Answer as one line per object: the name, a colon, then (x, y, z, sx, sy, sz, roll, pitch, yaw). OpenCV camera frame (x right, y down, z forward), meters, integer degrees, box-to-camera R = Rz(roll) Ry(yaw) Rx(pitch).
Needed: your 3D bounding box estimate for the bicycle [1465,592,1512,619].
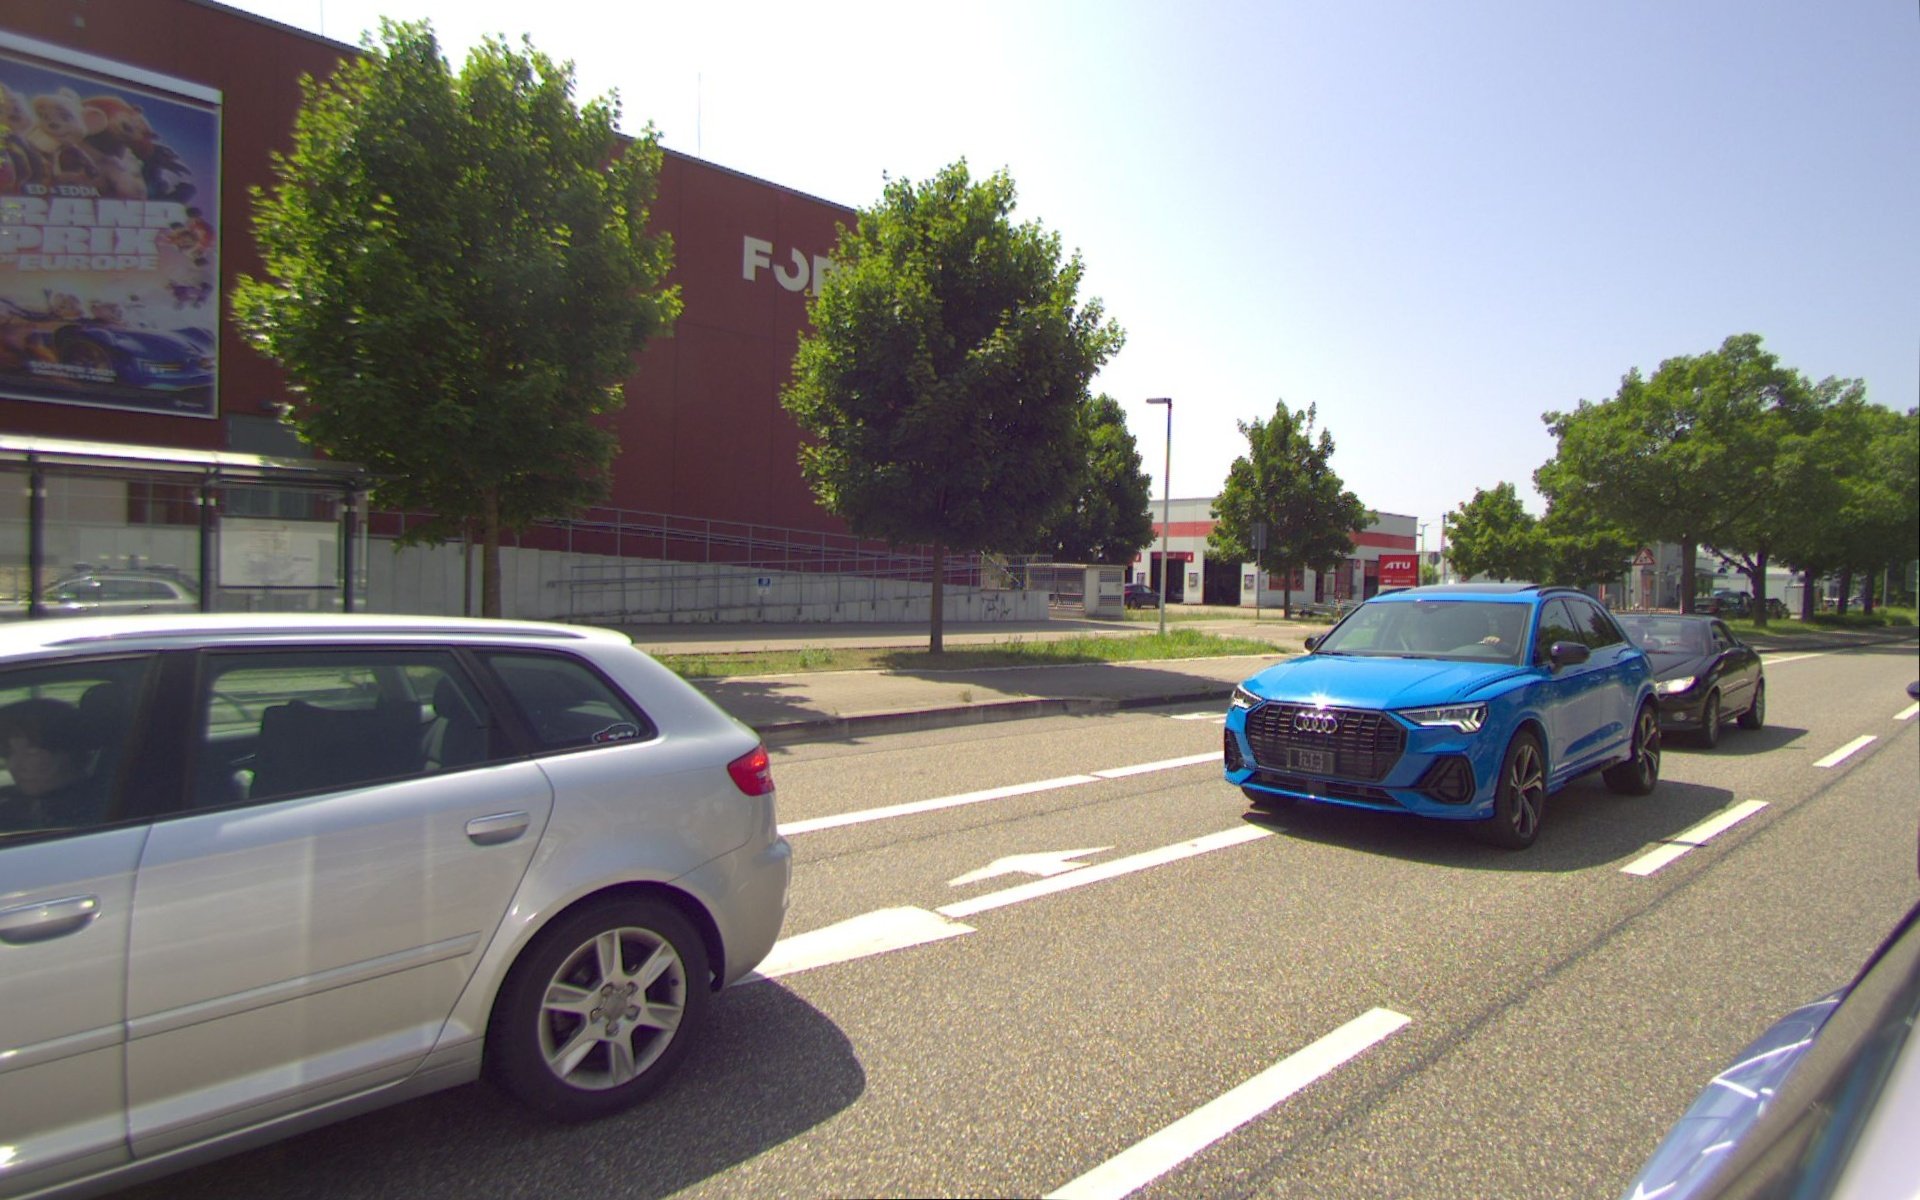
bicycle: (23.339, 0.240, 44.723, 1.779, 1.138, 0.506, 3, 1, 43)

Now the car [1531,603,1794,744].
car: (8.185, 0.714, 11.662, 3.931, 1.361, 1.640, 0, -1, -42)

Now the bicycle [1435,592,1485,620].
bicycle: (21.155, 0.237, 42.839, 1.779, 1.138, 0.506, 3, 1, 43)

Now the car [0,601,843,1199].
car: (-2.436, 0.699, 2.638, 4.022, 1.379, 1.714, 0, 0, -43)

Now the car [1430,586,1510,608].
car: (30.651, -0.190, 60.881, 1.718, 1.223, 3.991, 0, 2, -44)

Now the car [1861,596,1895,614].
car: (79.970, 0.467, 88.137, 3.930, 1.485, 1.719, 0, 2, -41)

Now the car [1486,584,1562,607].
car: (36.375, -0.292, 65.300, 1.662, 1.317, 3.991, 0, 2, -44)

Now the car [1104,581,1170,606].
car: (10.450, -0.359, 59.656, 4.074, 1.390, 1.716, 0, 2, -42)

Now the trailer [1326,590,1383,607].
trailer: (18.795, -0.075, 48.298, 1.369, 0.771, 2.137, 0, 2, -39)

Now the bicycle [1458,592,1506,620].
bicycle: (22.753, 0.249, 44.152, 1.779, 1.138, 0.506, 3, 1, 43)

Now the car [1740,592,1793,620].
car: (47.292, 0.319, 59.330, 3.930, 1.539, 1.719, 0, 2, -41)

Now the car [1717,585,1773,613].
car: (43.453, -0.045, 56.008, 3.930, 1.485, 1.719, 0, 2, -41)

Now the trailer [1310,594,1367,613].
trailer: (17.631, 0.163, 47.170, 1.244, 0.771, 2.137, 0, 2, -39)

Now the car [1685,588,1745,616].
car: (38.830, 0.100, 51.995, 3.930, 1.388, 1.641, 0, 2, -41)

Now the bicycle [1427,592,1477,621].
bicycle: (20.641, 0.250, 42.493, 1.779, 1.138, 0.506, 3, 1, 43)

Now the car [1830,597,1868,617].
car: (69.665, 0.542, 79.274, 3.930, 1.485, 1.719, 0, 2, -41)

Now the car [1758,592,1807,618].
car: (51.668, 0.288, 63.548, 3.930, 1.532, 1.719, 0, 2, -41)

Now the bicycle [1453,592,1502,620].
bicycle: (22.286, 0.231, 43.612, 1.779, 1.138, 0.506, 3, 1, 43)

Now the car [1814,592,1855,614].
car: (64.701, 0.216, 74.862, 3.930, 1.485, 1.719, 0, 2, -41)

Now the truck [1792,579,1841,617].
truck: (60.287, -0.153, 71.212, 3.929, 2.599, 1.904, 0, 1, -40)

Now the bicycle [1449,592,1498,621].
bicycle: (21.877, 0.271, 43.121, 1.779, 1.138, 0.506, 3, 1, 43)

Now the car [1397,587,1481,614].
car: (27.339, 0.001, 57.799, 1.718, 1.419, 3.992, 0, 2, -43)

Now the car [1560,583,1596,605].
car: (48.320, -0.475, 79.112, 1.753, 1.616, 3.940, 2, 2, 42)

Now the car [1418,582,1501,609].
car: (29.131, -0.299, 59.082, 1.718, 1.419, 3.991, 0, 2, -44)

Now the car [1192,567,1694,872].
car: (3.764, 0.612, 7.498, 4.324, 1.616, 1.840, 0, 1, -42)

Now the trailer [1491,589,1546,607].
trailer: (34.862, -0.132, 63.173, 1.552, 1.065, 2.638, 0, 2, -43)

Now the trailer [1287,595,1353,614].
trailer: (16.301, 0.189, 45.861, 1.423, 0.771, 2.467, 0, 2, -39)

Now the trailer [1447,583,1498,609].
trailer: (32.959, -0.258, 65.095, 1.391, 1.546, 2.638, 0, 2, -43)

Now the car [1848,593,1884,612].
car: (75.270, 0.172, 84.074, 3.930, 1.485, 1.719, 0, 2, -41)

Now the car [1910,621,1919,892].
car: (6.584, 0.723, 5.570, 3.931, 1.421, 1.640, 0, 2, -42)
